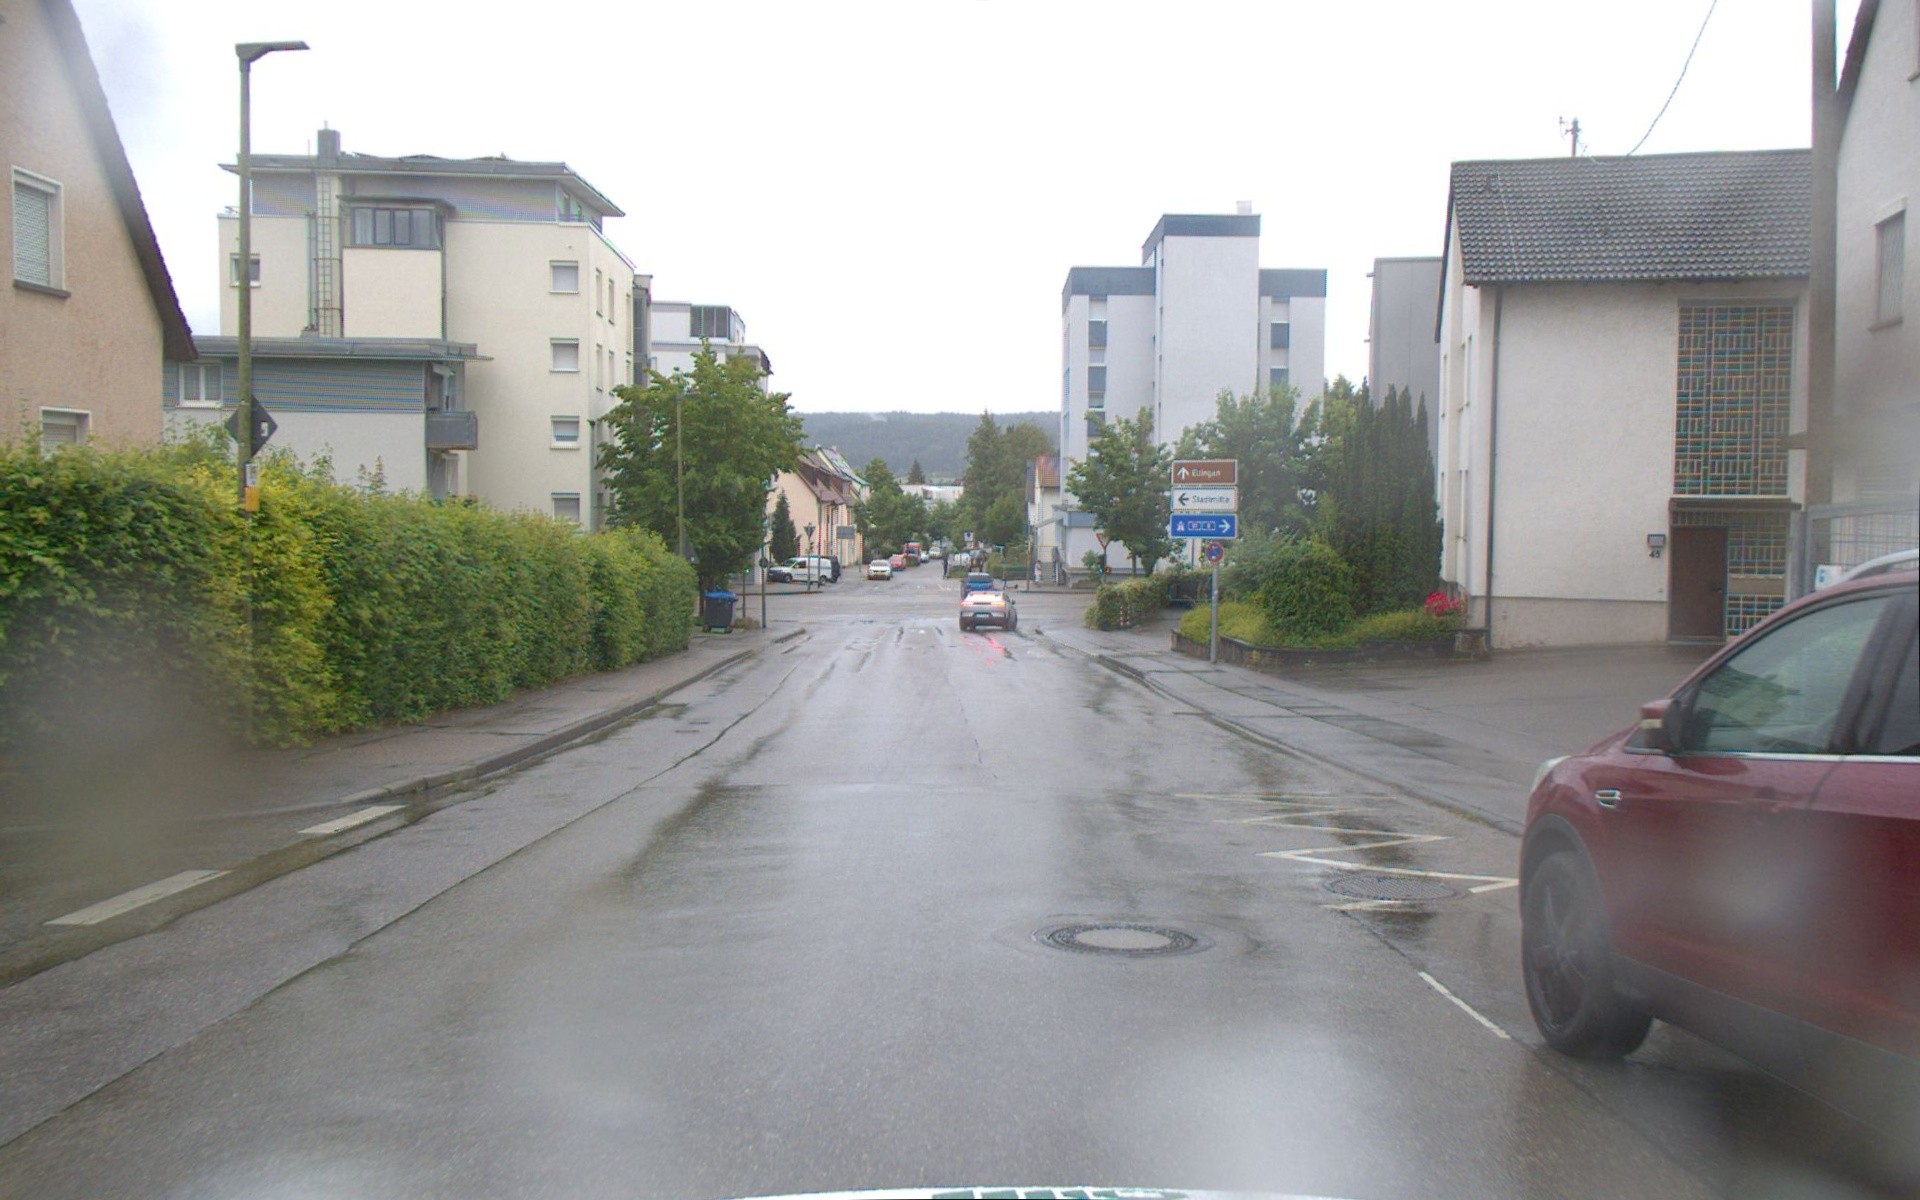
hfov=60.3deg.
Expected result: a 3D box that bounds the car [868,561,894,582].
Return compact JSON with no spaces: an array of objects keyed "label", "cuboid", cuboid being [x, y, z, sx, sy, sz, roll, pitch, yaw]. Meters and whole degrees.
[{"label":"car","cuboid":[-6.468,-2.337,135.505,1.953,1.654,4.192,-1,2,0]}]

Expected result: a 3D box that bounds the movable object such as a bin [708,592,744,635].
[{"label":"movable object such as a bin","cuboid":[-7.794,0.431,55.098,1.050,1.371,1.318,2,0,-3]}]

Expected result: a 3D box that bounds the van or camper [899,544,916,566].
[{"label":"van or camper","cuboid":[-6.137,-5.262,194.414,1.862,2.557,4.239,-1,2,0]}]

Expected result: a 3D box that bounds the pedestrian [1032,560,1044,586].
[{"label":"pedestrian","cuboid":[5.061,-1.779,107.766,0.635,1.676,0.525,3,1,-7]}]

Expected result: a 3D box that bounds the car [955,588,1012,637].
[{"label":"car","cuboid":[0.898,0.466,65.437,1.954,1.713,3.999,-1,2,-3]}]

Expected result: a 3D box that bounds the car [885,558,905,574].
[{"label":"car","cuboid":[-6.750,-3.544,171.954,1.862,1.586,4.192,-1,2,0]}]

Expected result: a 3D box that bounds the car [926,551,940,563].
[{"label":"car","cuboid":[-3.631,-5.773,222.244,1.862,1.586,4.192,-1,2,0]}]

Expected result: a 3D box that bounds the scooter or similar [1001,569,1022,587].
[{"label":"scooter or similar","cuboid":[3.303,-1.422,106.372,1.243,1.100,0.875,-1,1,-5]}]

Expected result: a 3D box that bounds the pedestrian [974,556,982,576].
[{"label":"pedestrian","cuboid":[1.728,-3.159,154.865,0.730,1.881,0.526,0,0,1]}]

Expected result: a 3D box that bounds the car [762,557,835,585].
[{"label":"car","cuboid":[-11.205,-2.024,115.142,4.798,1.867,1.972,-2,2,-39]}]

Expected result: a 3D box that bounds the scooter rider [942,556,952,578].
[{"label":"scooter rider","cuboid":[-1.115,-2.845,142.147,0.739,1.827,0.670,-1,1,-15]}]

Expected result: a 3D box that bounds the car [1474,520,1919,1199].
[{"label":"car","cuboid":[3.132,0.656,4.381,1.953,1.673,4.957,0,0,-1]}]

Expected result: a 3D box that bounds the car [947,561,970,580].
[{"label":"car","cuboid":[-0.143,-2.697,148.975,2.102,1.616,4.128,-1,2,0]}]

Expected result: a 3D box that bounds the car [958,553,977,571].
[{"label":"car","cuboid":[0.795,-3.973,171.241,1.862,1.775,4.192,-1,2,0]}]

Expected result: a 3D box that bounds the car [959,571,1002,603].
[{"label":"car","cuboid":[1.151,-0.755,93.408,1.955,1.713,3.996,-1,2,-6]}]
